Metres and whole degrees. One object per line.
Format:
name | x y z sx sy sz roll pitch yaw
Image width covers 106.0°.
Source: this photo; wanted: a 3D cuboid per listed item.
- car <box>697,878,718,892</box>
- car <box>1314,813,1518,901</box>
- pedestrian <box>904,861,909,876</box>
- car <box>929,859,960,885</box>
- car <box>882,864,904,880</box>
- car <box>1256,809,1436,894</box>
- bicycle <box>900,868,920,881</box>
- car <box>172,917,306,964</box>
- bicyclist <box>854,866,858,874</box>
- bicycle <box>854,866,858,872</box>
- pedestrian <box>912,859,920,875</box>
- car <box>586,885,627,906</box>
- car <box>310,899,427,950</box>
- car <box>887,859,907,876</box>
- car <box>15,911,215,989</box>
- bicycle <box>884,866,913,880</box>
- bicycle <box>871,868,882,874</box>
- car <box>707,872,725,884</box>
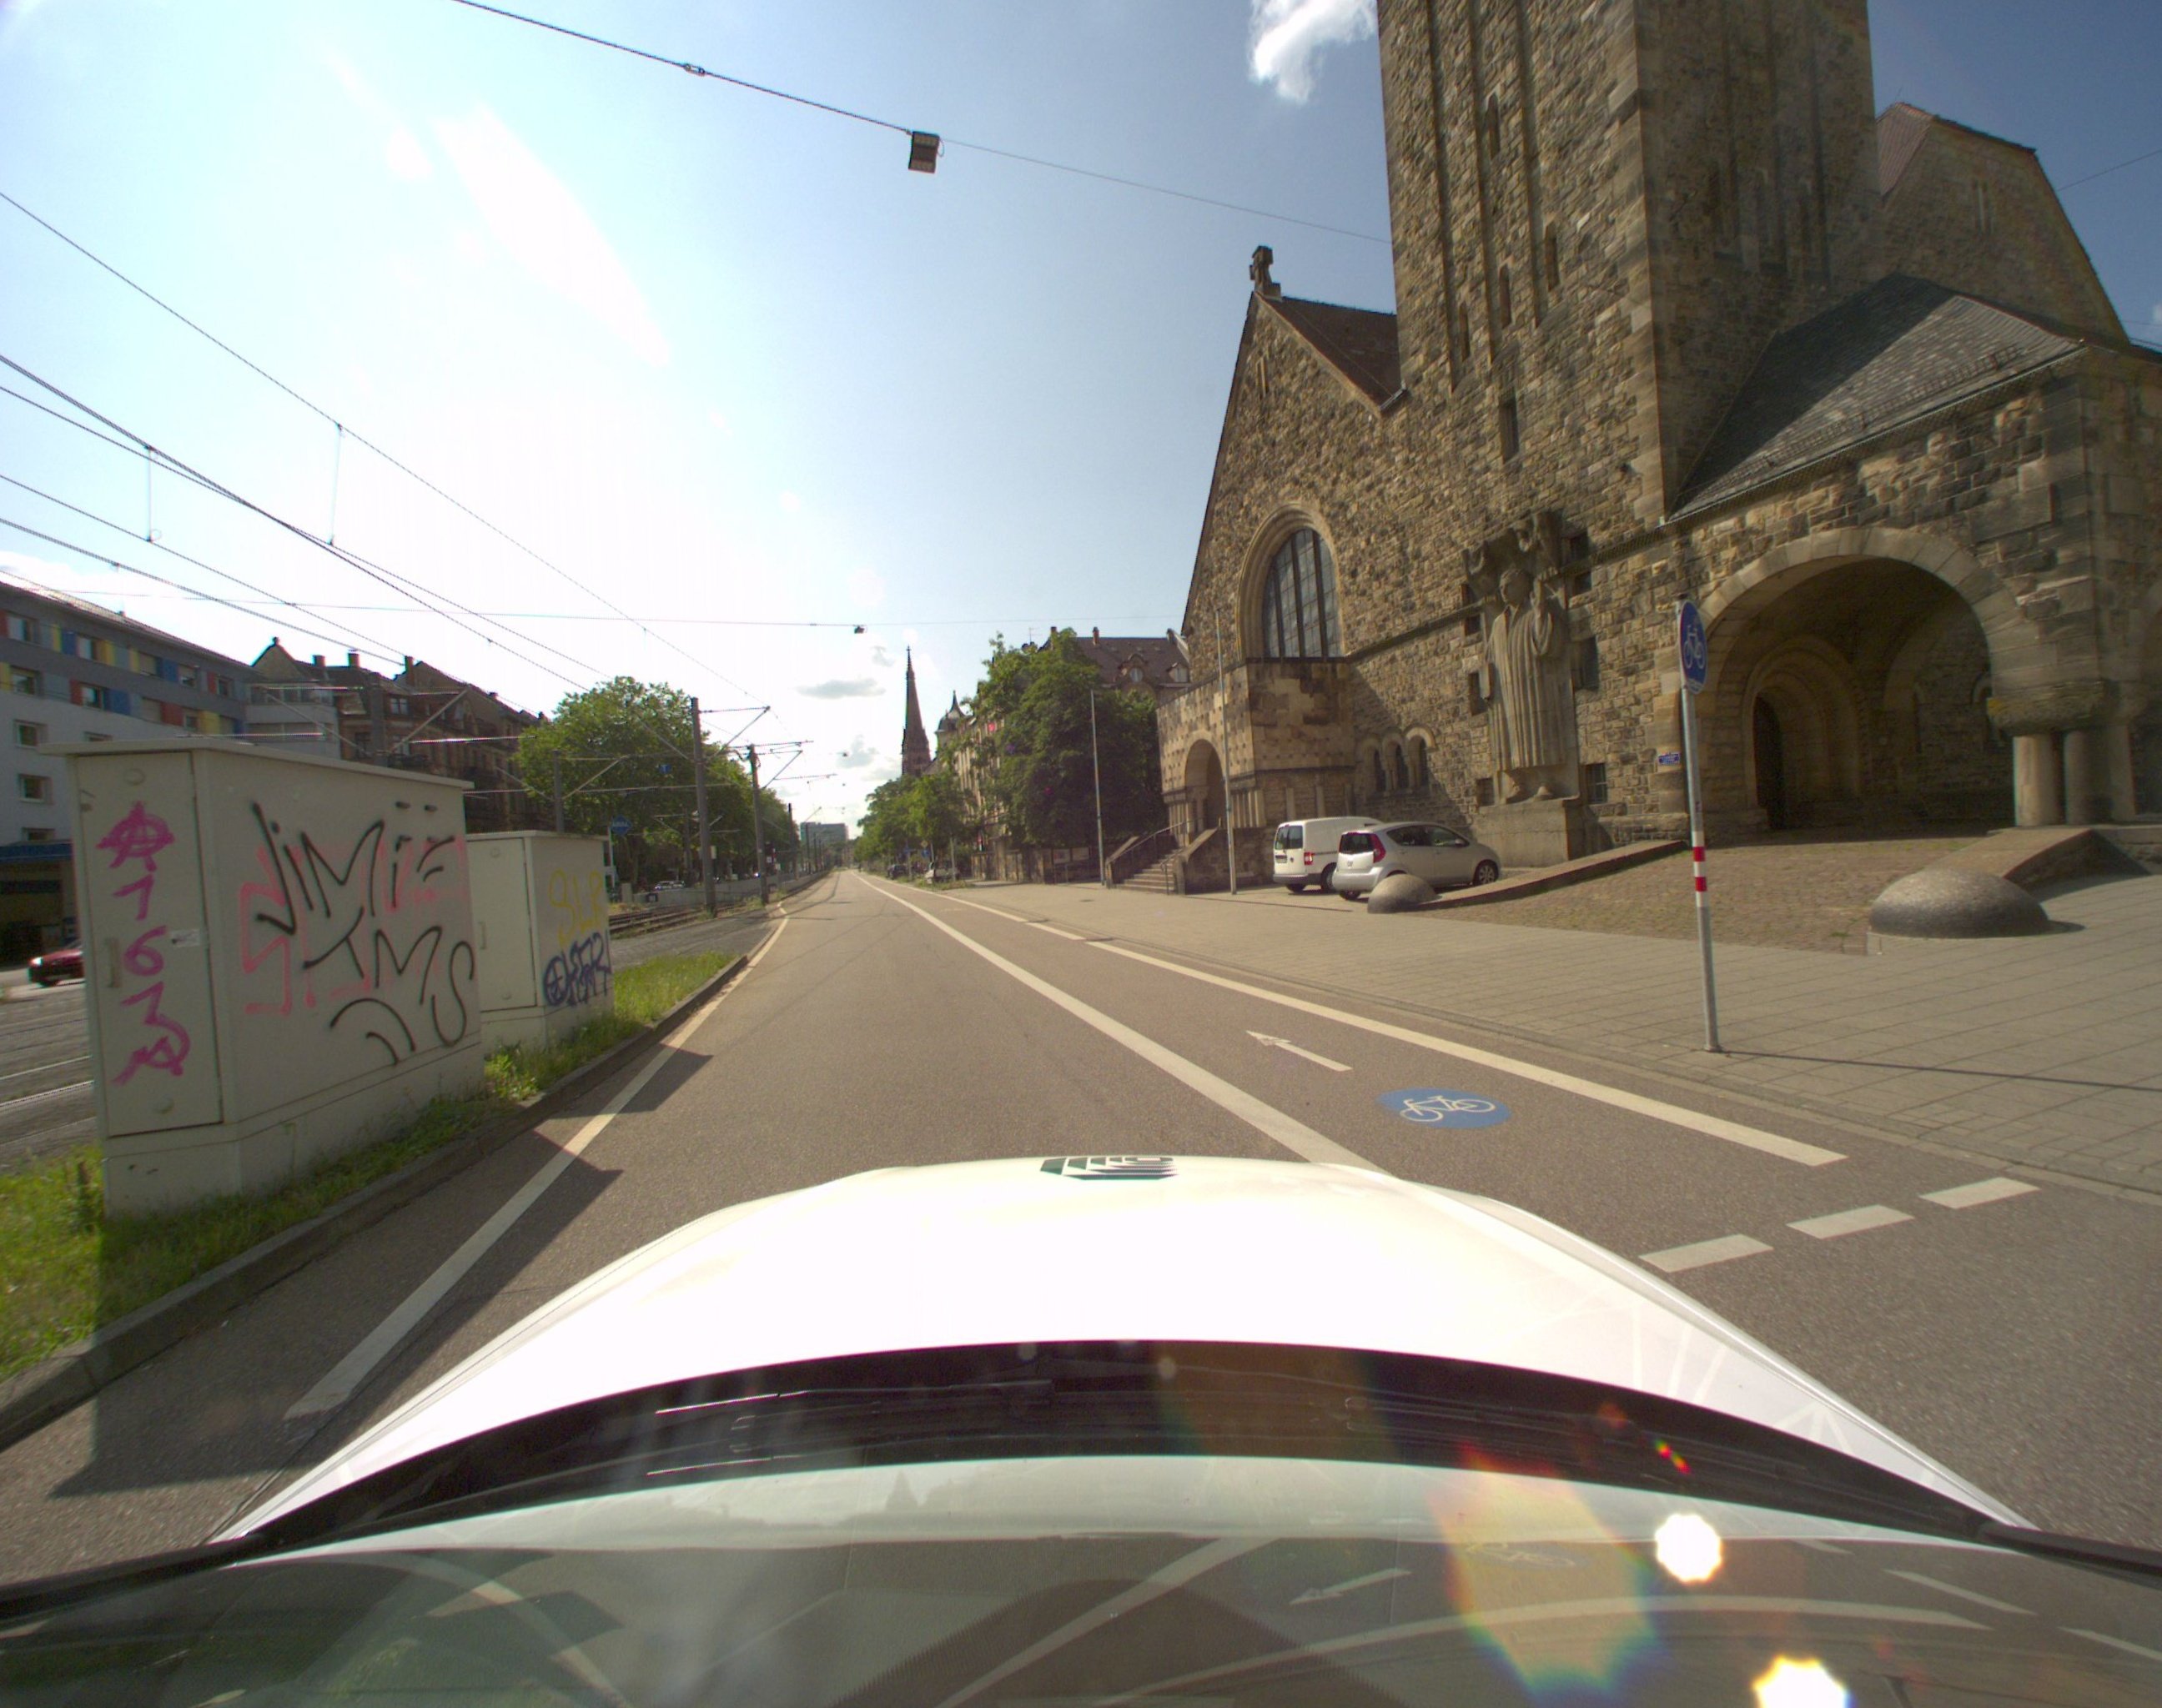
car | -55.143 4.610 120.366 1.719 1.691 3.716 -6 2 -10
car | 7.196 0.037 17.587 3.778 1.546 1.786 -4 1 -19
pedestrian | -20.487 1.732 95.467 0.317 1.706 0.460 -6 1 -3
car | -8.214 1.068 49.138 1.668 1.416 3.833 -2 0 -8
car | -21.576 2.052 93.142 1.805 1.526 4.458 -6 1 -20
car | 6.791 -0.081 20.935 4.016 1.823 1.851 -4 1 -20
bicycle | -15.778 1.890 75.052 1.713 1.069 0.468 -4 0 -23
car | -30.010 3.036 29.179 1.619 1.189 3.614 -4 1 -15
bicyclist | -47.443 3.340 171.594 0.772 1.730 1.020 -4 0 -16
bicycle | -47.450 3.151 171.557 0.801 1.236 2.762 -4 0 -16
pedestrian | -19.581 1.581 96.487 0.671 1.804 0.317 -7 1 -19
car | -38.171 3.301 65.610 1.669 1.416 3.767 -4 1 -11
car | -32.094 3.106 36.898 1.952 1.606 5.047 -5 2 -17
car | -18.908 1.379 83.552 1.690 1.502 4.682 -4 0 -16
car | -28.299 2.736 24.081 1.717 1.606 4.120 -5 2 -17
bicycle | -20.191 2.117 89.906 2.965 1.246 0.785 -4 0 -30
bicycle | -37.576 3.116 149.340 1.823 0.902 0.647 -7 1 -20
car | -59.900 3.930 133.709 1.997 1.636 3.980 -7 1 -14
